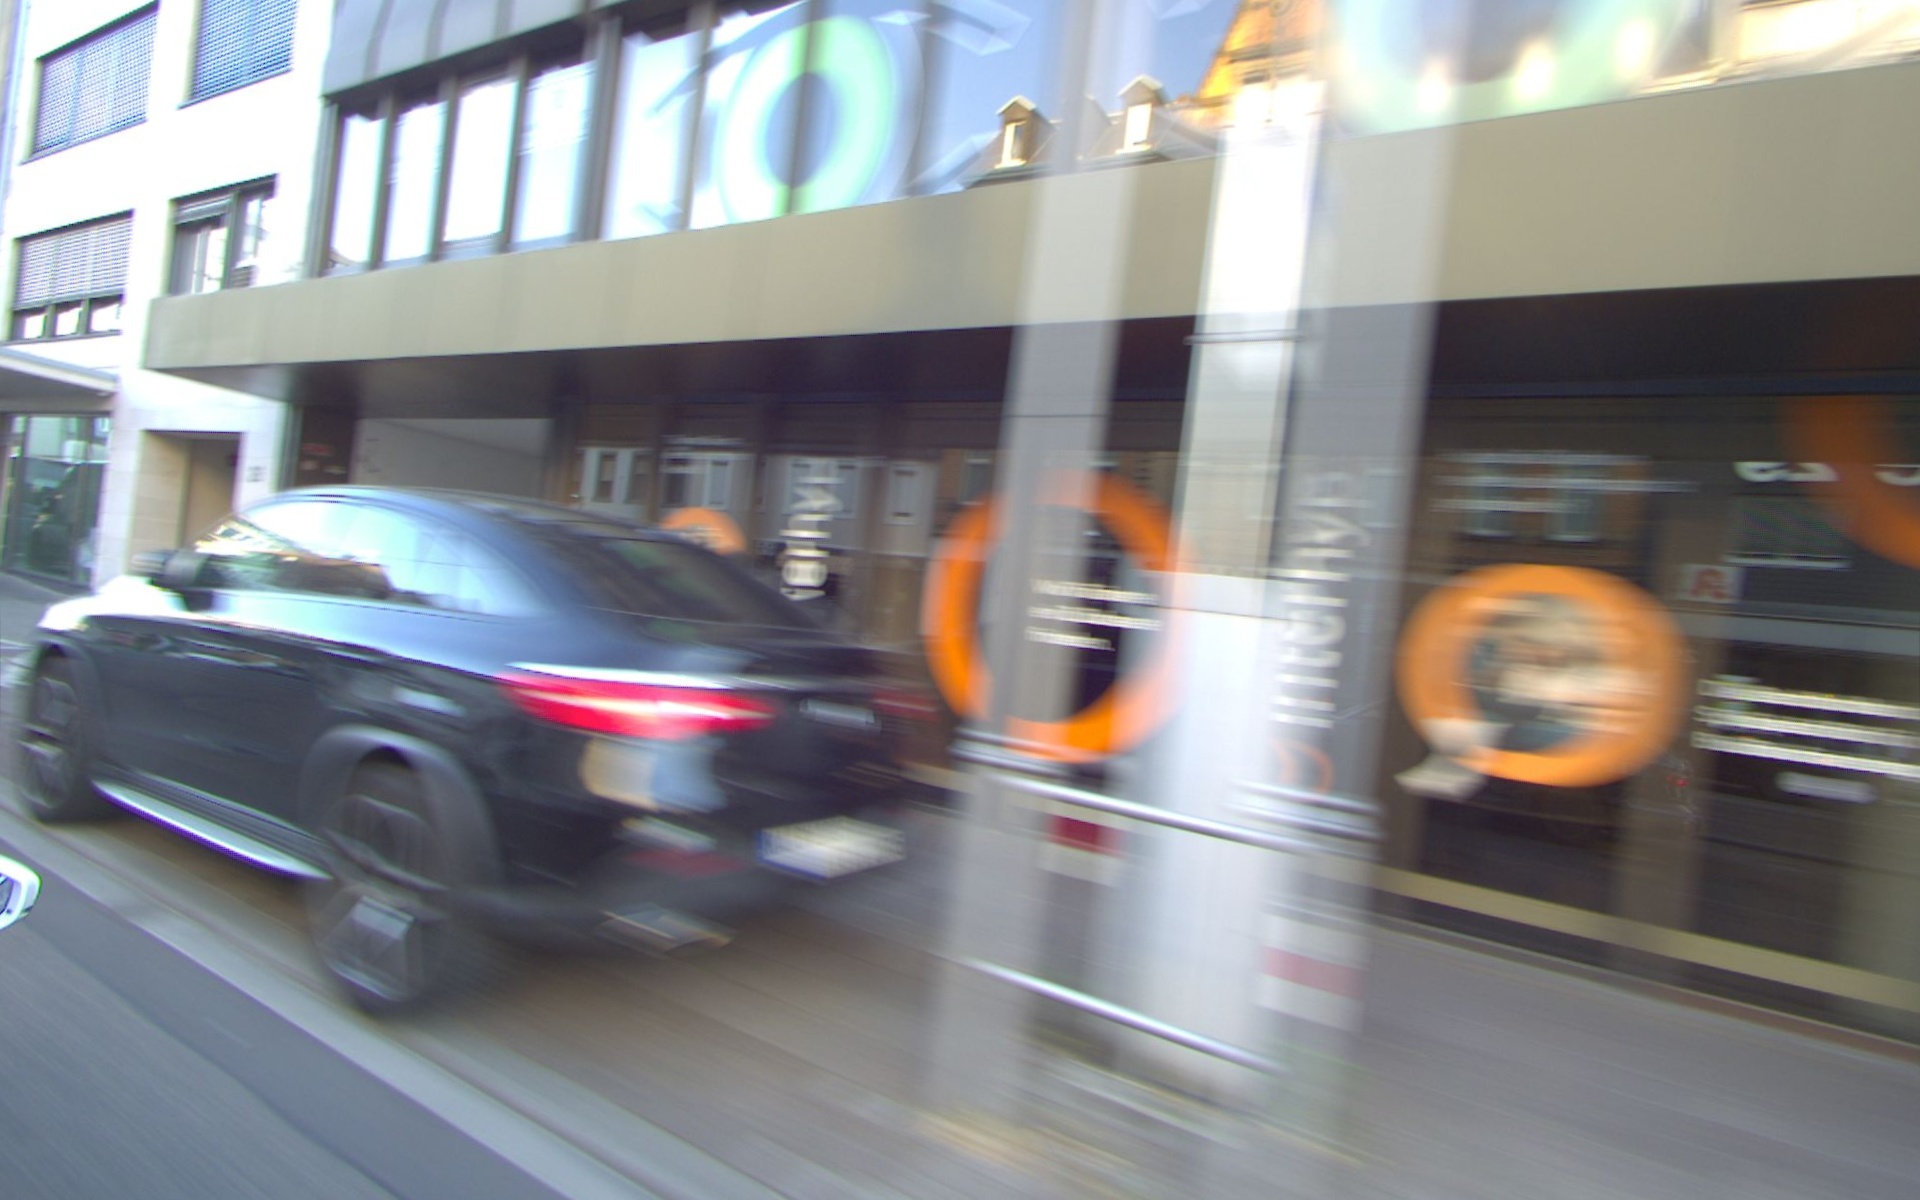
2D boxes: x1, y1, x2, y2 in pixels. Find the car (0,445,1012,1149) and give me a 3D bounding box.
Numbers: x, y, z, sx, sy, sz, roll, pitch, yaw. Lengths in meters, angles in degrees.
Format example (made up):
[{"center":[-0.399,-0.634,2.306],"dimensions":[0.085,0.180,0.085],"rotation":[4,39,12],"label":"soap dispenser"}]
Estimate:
[{"center":[-2.280,0.390,4.583],"dimensions":[4.490,1.749,1.996],"rotation":[6,0,32],"label":"car"}]
